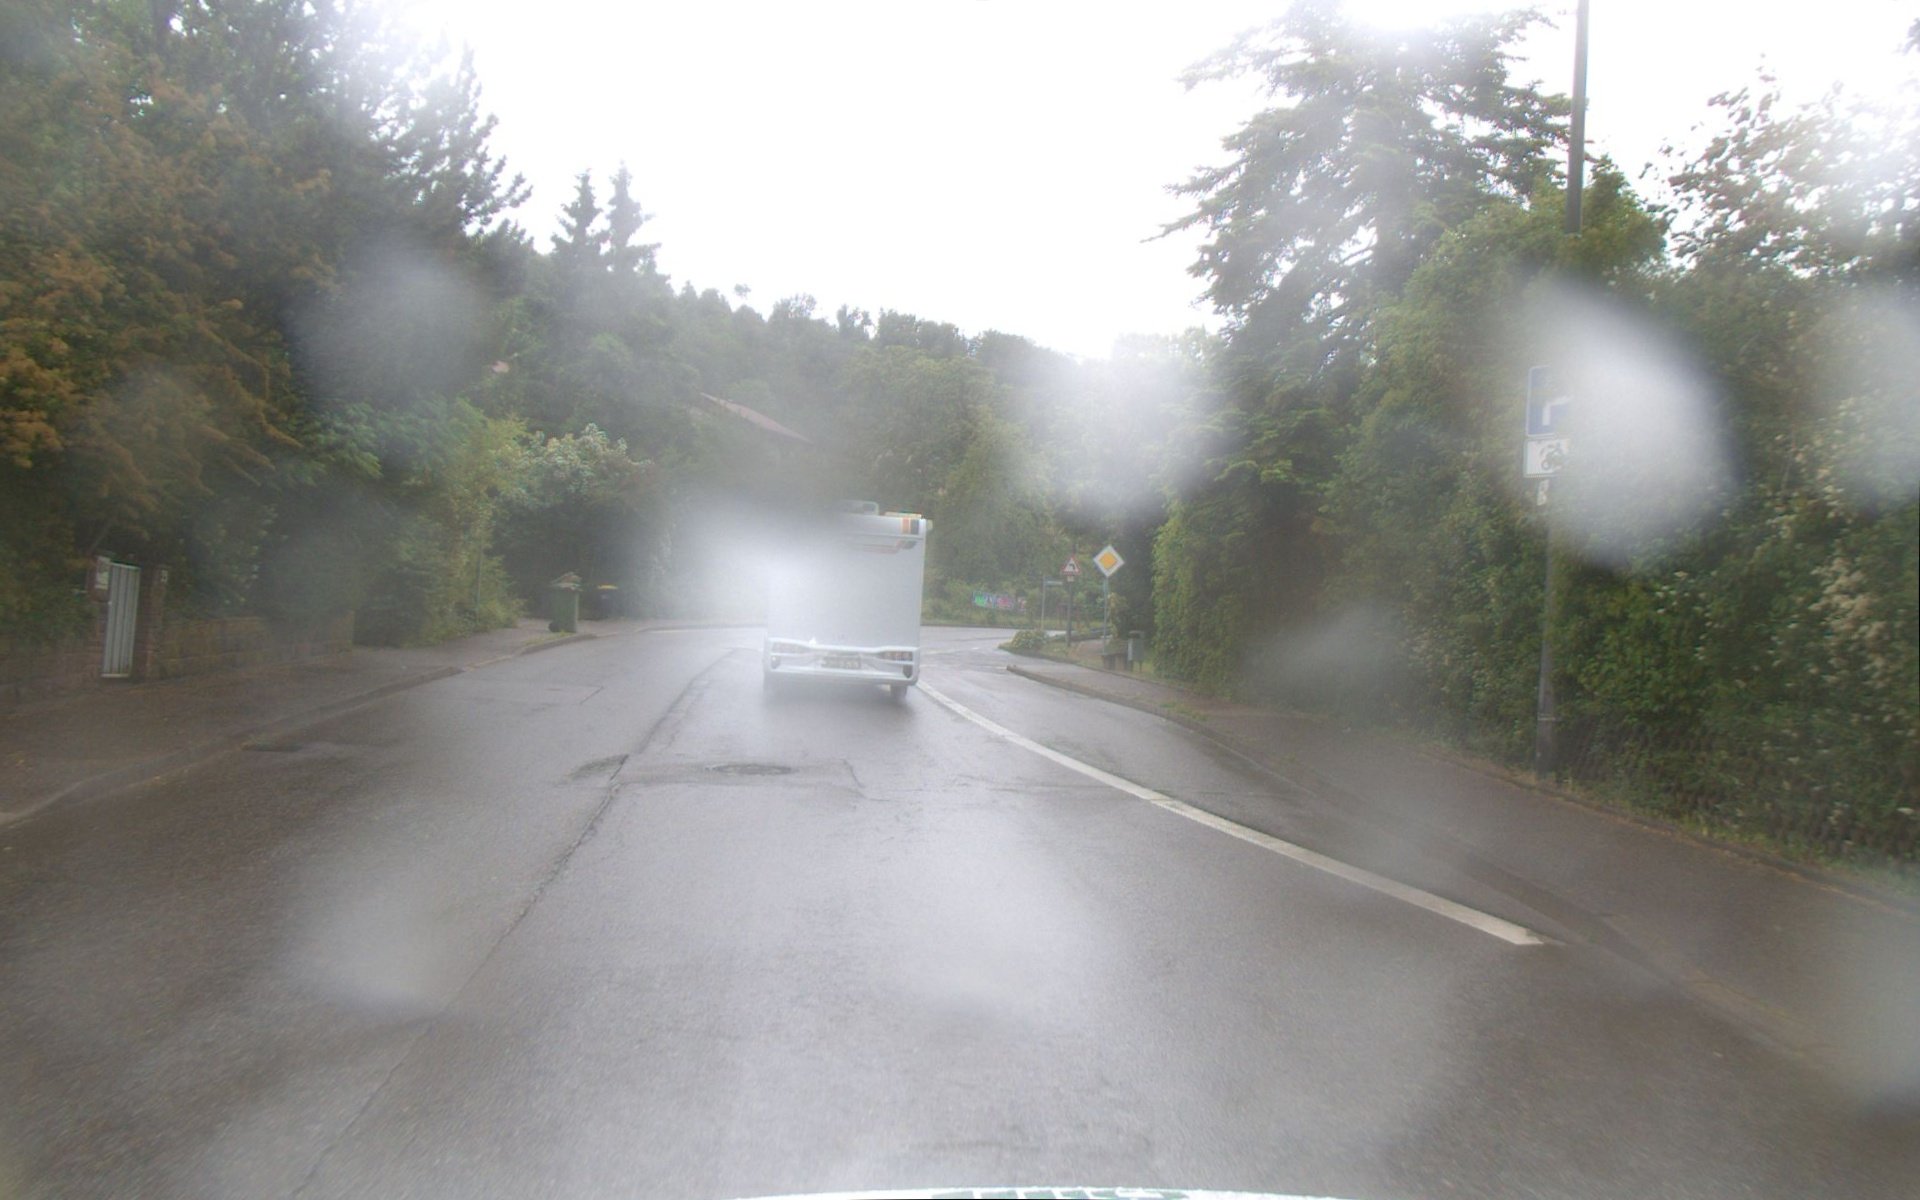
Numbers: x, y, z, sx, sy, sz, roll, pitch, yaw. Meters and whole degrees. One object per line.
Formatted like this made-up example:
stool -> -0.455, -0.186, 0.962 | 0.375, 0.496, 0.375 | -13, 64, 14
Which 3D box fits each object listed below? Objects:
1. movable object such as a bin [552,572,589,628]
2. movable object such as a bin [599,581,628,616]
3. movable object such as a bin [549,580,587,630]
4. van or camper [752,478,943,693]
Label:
movable object such as a bin -> -9.153, -0.013, 38.923 | 0.727, 1.275, 0.756 | 2, 0, -8
movable object such as a bin -> -10.543, -0.055, 50.367 | 0.740, 1.040, 0.742 | 2, 0, -7
movable object such as a bin -> -8.994, 0.110, 37.954 | 0.727, 1.113, 0.756 | 2, 0, -8
van or camper -> -1.761, -0.132, 26.240 | 2.564, 2.903, 6.025 | 2, -2, -4
